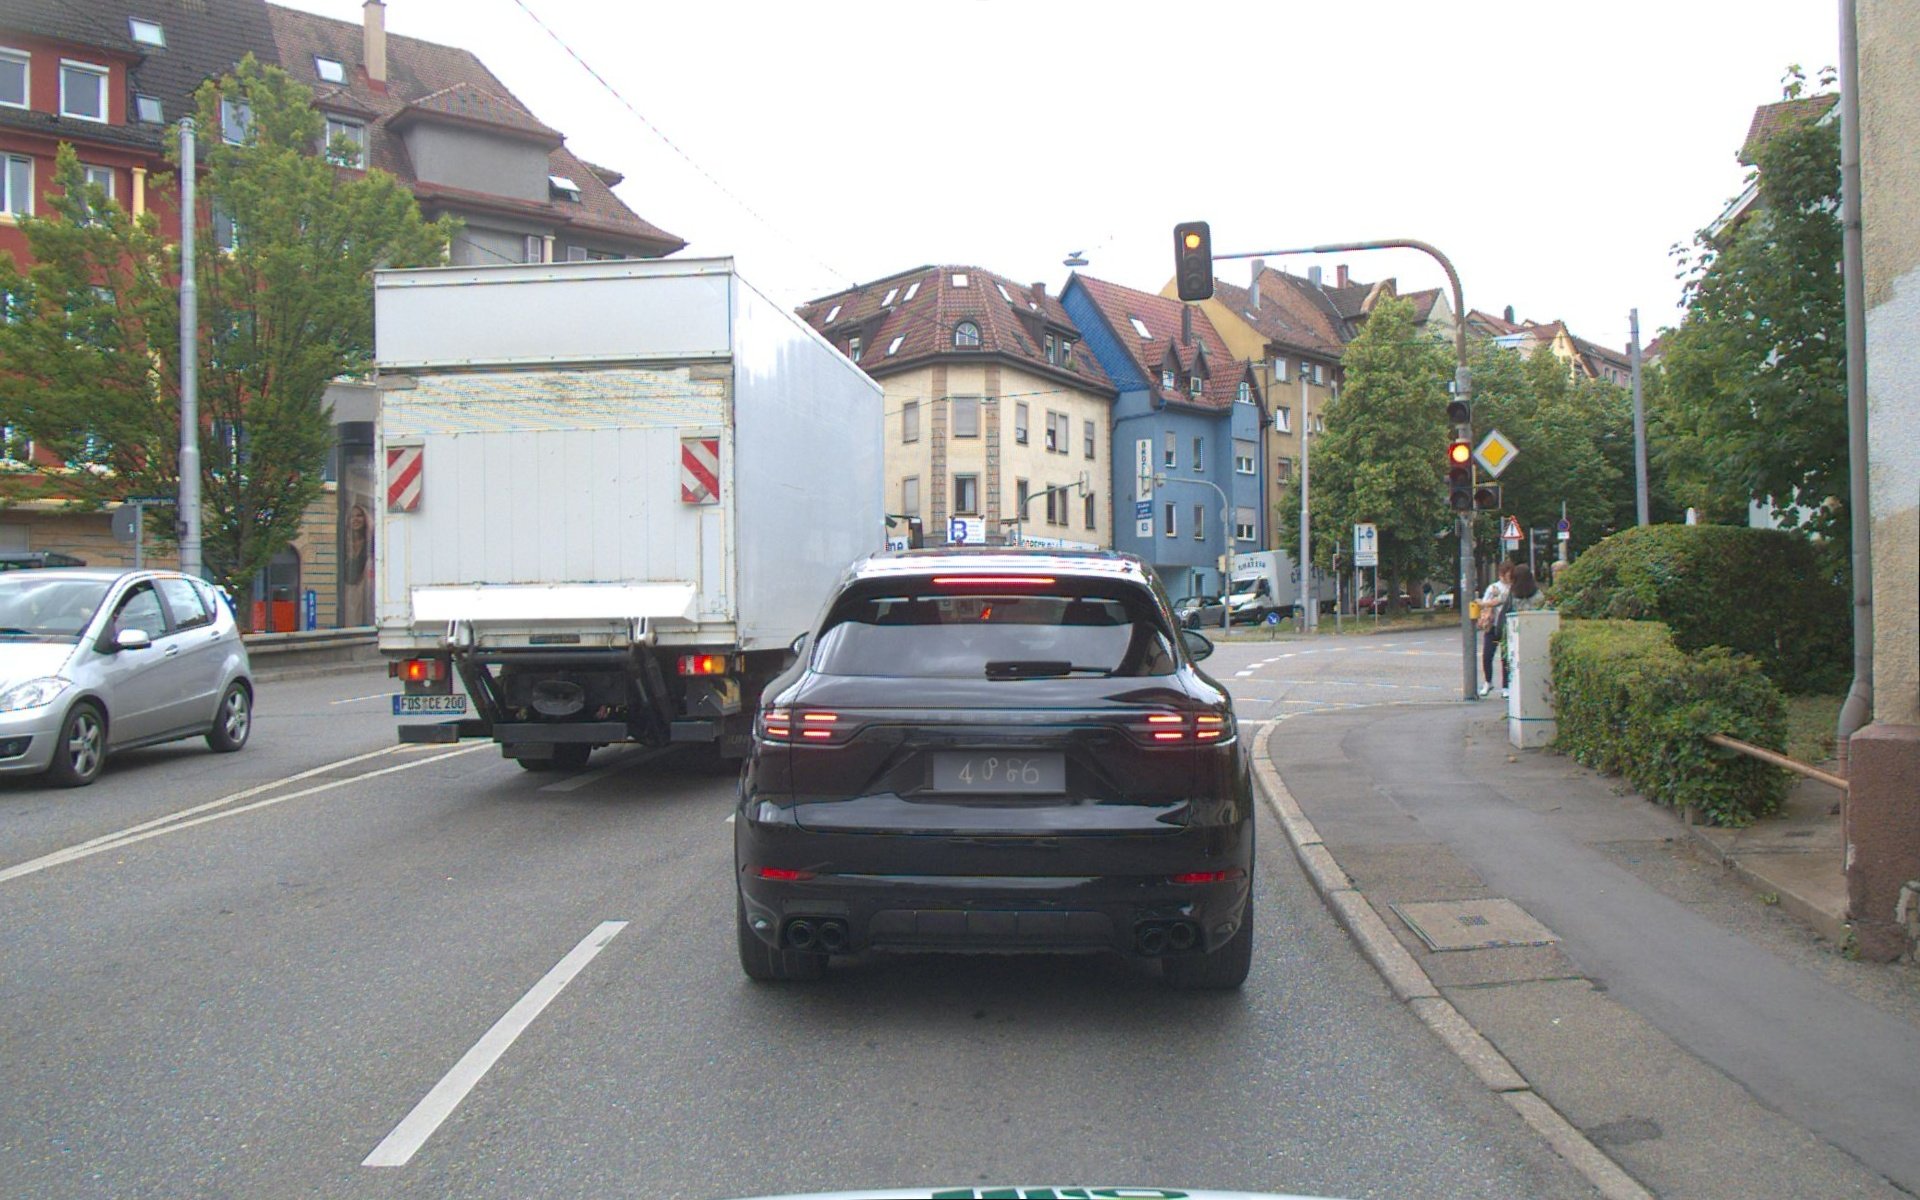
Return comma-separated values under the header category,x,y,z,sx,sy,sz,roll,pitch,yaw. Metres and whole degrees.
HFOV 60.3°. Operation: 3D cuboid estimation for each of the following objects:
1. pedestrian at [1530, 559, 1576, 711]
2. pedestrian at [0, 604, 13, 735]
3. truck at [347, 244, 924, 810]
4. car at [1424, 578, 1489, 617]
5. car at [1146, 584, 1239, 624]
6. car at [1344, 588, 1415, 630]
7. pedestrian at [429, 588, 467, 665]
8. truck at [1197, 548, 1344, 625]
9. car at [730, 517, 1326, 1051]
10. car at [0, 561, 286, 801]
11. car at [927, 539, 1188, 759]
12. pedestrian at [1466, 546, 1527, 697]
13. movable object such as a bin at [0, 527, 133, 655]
category,x,y,z,sx,sy,sz,roll,pitch,yaw
pedestrian,7.389,0.431,20.625,0.453,1.869,0.324,2,-1,14
pedestrian,-13.284,0.935,22.559,0.537,1.760,0.586,2,-1,-35
truck,-2.233,-0.522,14.799,2.710,3.637,8.070,0,1,7
car,27.973,-0.111,93.095,1.964,2.049,3.976,2,0,41
car,10.132,0.168,71.957,3.968,1.713,1.968,0,0,-43
car,21.952,0.464,86.493,1.965,2.049,3.975,2,0,42
pedestrian,-10.766,0.554,34.787,0.577,1.594,0.486,2,-1,-1
truck,14.865,-0.596,78.651,2.830,3.398,8.744,2,0,41
car,0.112,0.563,7.362,1.939,1.713,3.997,0,1,-4
car,-7.121,0.554,13.362,1.674,1.646,4.000,0,0,0
car,1.033,0.385,15.067,1.951,1.713,4.003,0,0,10
pedestrian,6.717,0.269,20.735,0.517,1.851,0.591,2,-1,-1
movable object such as a bin,-14.274,-0.156,25.443,1.870,1.802,3.986,2,0,-14
